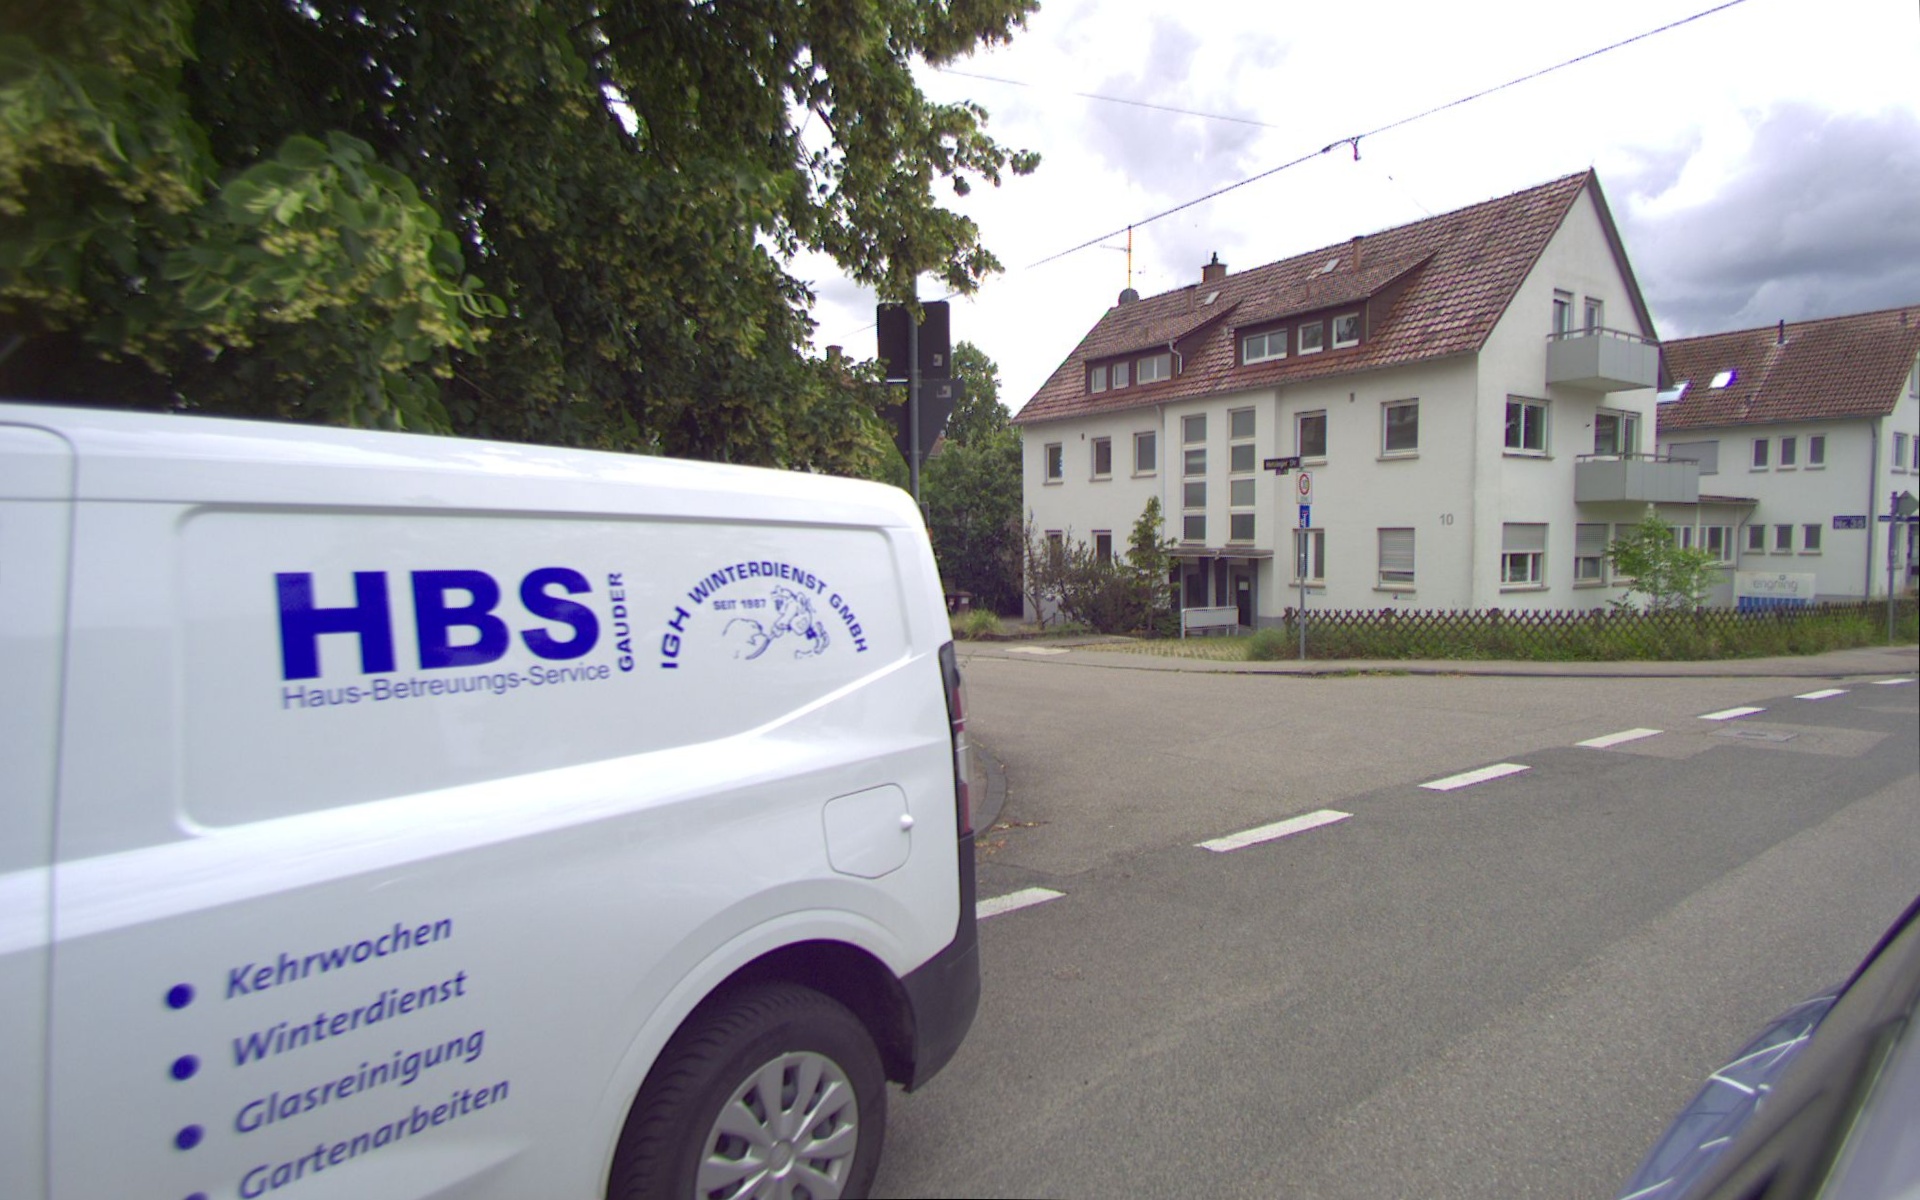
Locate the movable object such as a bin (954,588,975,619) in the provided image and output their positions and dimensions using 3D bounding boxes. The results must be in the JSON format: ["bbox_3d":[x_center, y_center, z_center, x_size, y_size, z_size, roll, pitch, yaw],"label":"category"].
[{"bbox_3d":[0.161,0.124,39.668,0.624,1.185,0.565,0,1,-33],"label":"movable object such as a bin"}]

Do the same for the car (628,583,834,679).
[{"bbox_3d":[-4.411,0.551,19.416,3.679,1.582,1.671,-1,4,31],"label":"car"}]

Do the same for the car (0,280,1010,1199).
[{"bbox_3d":[-2.001,0.510,1.696,1.838,1.796,4.248,-1,0,44],"label":"car"}]

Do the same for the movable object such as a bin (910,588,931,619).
[{"bbox_3d":[-1.512,0.129,38.563,0.624,1.185,0.565,0,1,-33],"label":"movable object such as a bin"}]

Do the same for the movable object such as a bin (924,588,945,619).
[{"bbox_3d":[-0.993,0.136,38.936,0.624,1.185,0.565,0,1,-33],"label":"movable object such as a bin"}]

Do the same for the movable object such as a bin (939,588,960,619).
[{"bbox_3d":[-0.398,0.140,39.280,0.624,1.185,0.565,0,1,-33],"label":"movable object such as a bin"}]
